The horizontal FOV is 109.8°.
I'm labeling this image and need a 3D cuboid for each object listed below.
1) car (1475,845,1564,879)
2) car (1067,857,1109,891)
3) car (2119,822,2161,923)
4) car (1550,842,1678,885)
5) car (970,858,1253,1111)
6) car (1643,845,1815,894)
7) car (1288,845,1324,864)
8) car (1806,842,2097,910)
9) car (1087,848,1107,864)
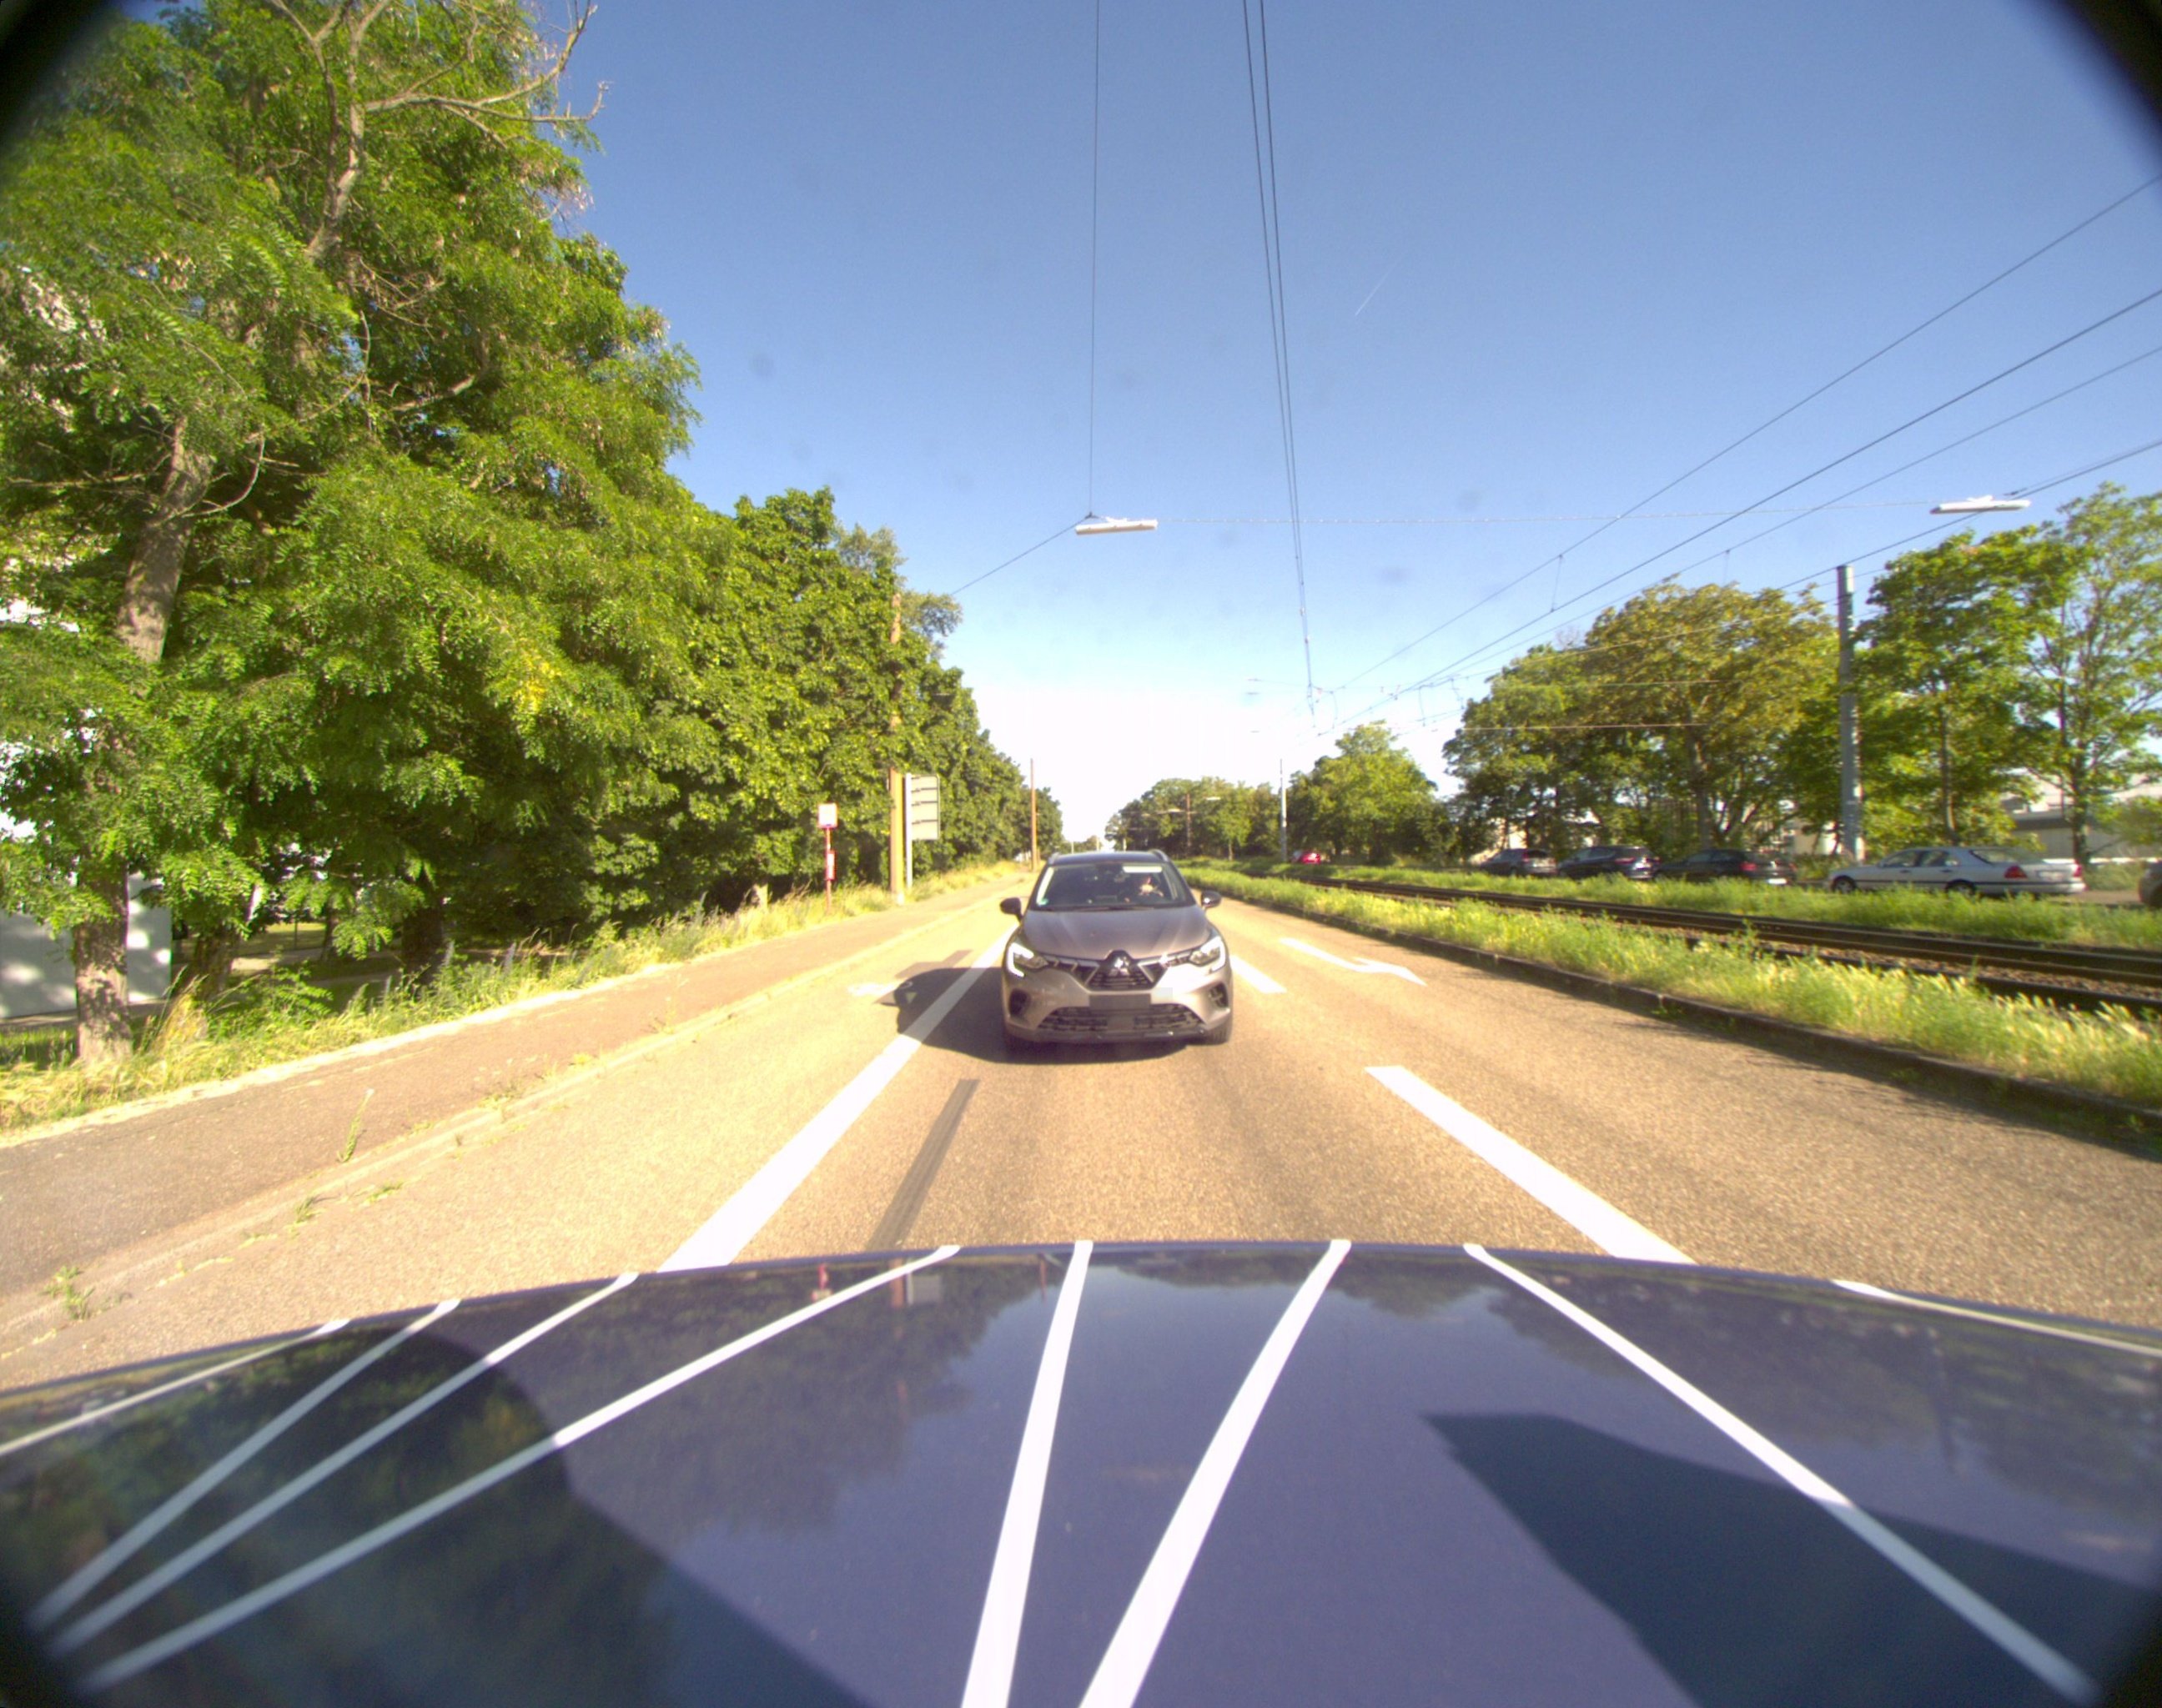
[{"bbox_3d":[21.469,0.341,37.434,1.740,1.486,4.327,-3,1,-1],"label":"car"},{"bbox_3d":[0.341,0.890,36.175,1.832,1.477,4.000,-1,0,1],"label":"car"},{"bbox_3d":[21.275,0.317,12.399,2.202,1.880,4.792,-2,0,3],"label":"car"},{"bbox_3d":[21.361,0.368,30.725,1.999,1.565,4.434,-2,0,-1],"label":"car"},{"bbox_3d":[0.215,0.886,7.278,1.822,1.589,4.413,-2,0,0],"label":"car"},{"bbox_3d":[21.394,0.475,25.366,1.998,1.429,4.415,-1,0,1],"label":"car"},{"bbox_3d":[20.984,0.007,71.110,2.009,1.692,4.466,-1,0,-1],"label":"car"},{"bbox_3d":[21.387,0.493,19.064,1.933,1.429,4.695,-1,0,1],"label":"car"},{"bbox_3d":[1.754,0.193,84.226,1.999,1.577,3.999,-2,0,-1],"label":"car"}]
